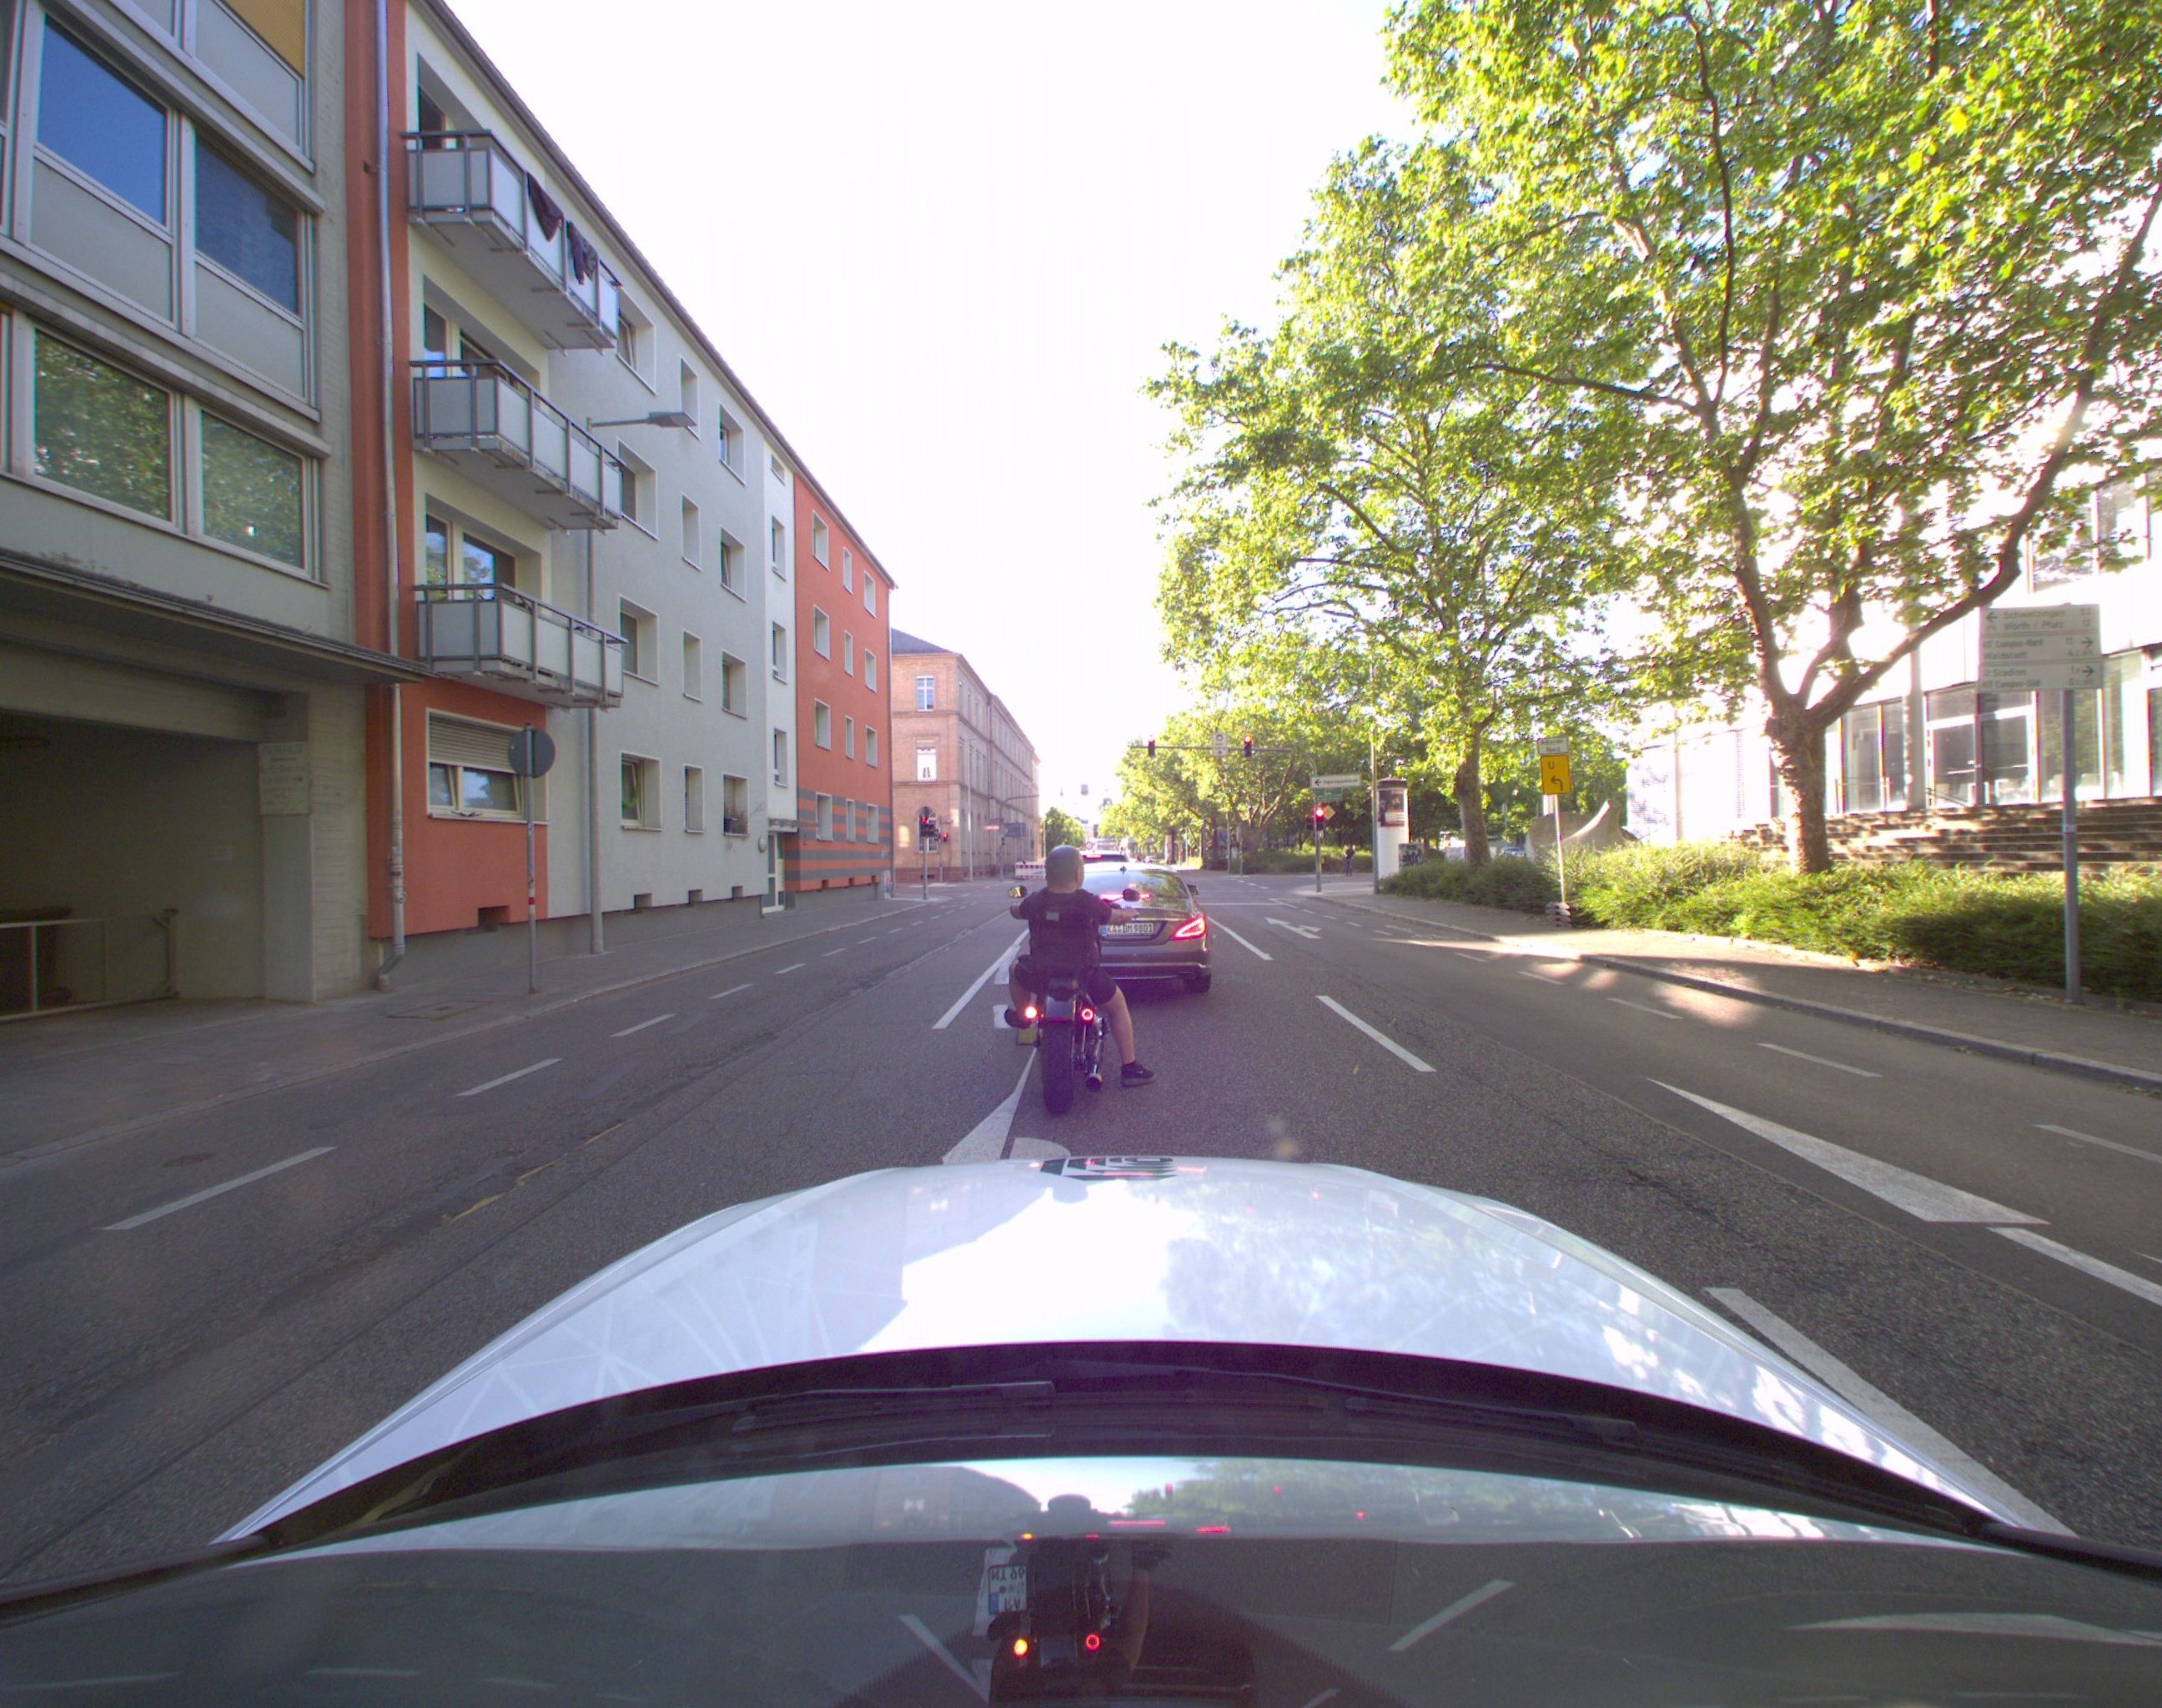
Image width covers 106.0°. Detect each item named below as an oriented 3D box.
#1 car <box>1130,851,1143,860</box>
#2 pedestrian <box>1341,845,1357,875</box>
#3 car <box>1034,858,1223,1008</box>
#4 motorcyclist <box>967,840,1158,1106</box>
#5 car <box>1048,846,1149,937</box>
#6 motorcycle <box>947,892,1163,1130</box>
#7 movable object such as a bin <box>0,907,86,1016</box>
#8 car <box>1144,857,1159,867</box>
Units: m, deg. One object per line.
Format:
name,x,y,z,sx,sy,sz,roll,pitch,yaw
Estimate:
car,7.793,0.177,114.322,1.625,1.259,3.717,0,-1,2
pedestrian,16.211,0.348,49.197,0.728,1.778,0.734,-1,-1,32
car,0.519,0.781,9.780,1.815,1.437,3.807,0,-1,2
motorcyclist,-0.071,0.706,5.405,1.093,1.566,1.074,-1,-1,8
car,0.380,0.712,17.069,1.856,1.678,4.001,0,-1,2
motorcycle,-0.043,0.914,5.623,1.111,1.207,2.217,-1,-1,8
movable object such as a bin,-11.285,1.120,8.648,0.533,1.079,0.723,0,-1,3
car,8.592,0.952,99.553,1.625,1.259,3.717,0,-1,2
